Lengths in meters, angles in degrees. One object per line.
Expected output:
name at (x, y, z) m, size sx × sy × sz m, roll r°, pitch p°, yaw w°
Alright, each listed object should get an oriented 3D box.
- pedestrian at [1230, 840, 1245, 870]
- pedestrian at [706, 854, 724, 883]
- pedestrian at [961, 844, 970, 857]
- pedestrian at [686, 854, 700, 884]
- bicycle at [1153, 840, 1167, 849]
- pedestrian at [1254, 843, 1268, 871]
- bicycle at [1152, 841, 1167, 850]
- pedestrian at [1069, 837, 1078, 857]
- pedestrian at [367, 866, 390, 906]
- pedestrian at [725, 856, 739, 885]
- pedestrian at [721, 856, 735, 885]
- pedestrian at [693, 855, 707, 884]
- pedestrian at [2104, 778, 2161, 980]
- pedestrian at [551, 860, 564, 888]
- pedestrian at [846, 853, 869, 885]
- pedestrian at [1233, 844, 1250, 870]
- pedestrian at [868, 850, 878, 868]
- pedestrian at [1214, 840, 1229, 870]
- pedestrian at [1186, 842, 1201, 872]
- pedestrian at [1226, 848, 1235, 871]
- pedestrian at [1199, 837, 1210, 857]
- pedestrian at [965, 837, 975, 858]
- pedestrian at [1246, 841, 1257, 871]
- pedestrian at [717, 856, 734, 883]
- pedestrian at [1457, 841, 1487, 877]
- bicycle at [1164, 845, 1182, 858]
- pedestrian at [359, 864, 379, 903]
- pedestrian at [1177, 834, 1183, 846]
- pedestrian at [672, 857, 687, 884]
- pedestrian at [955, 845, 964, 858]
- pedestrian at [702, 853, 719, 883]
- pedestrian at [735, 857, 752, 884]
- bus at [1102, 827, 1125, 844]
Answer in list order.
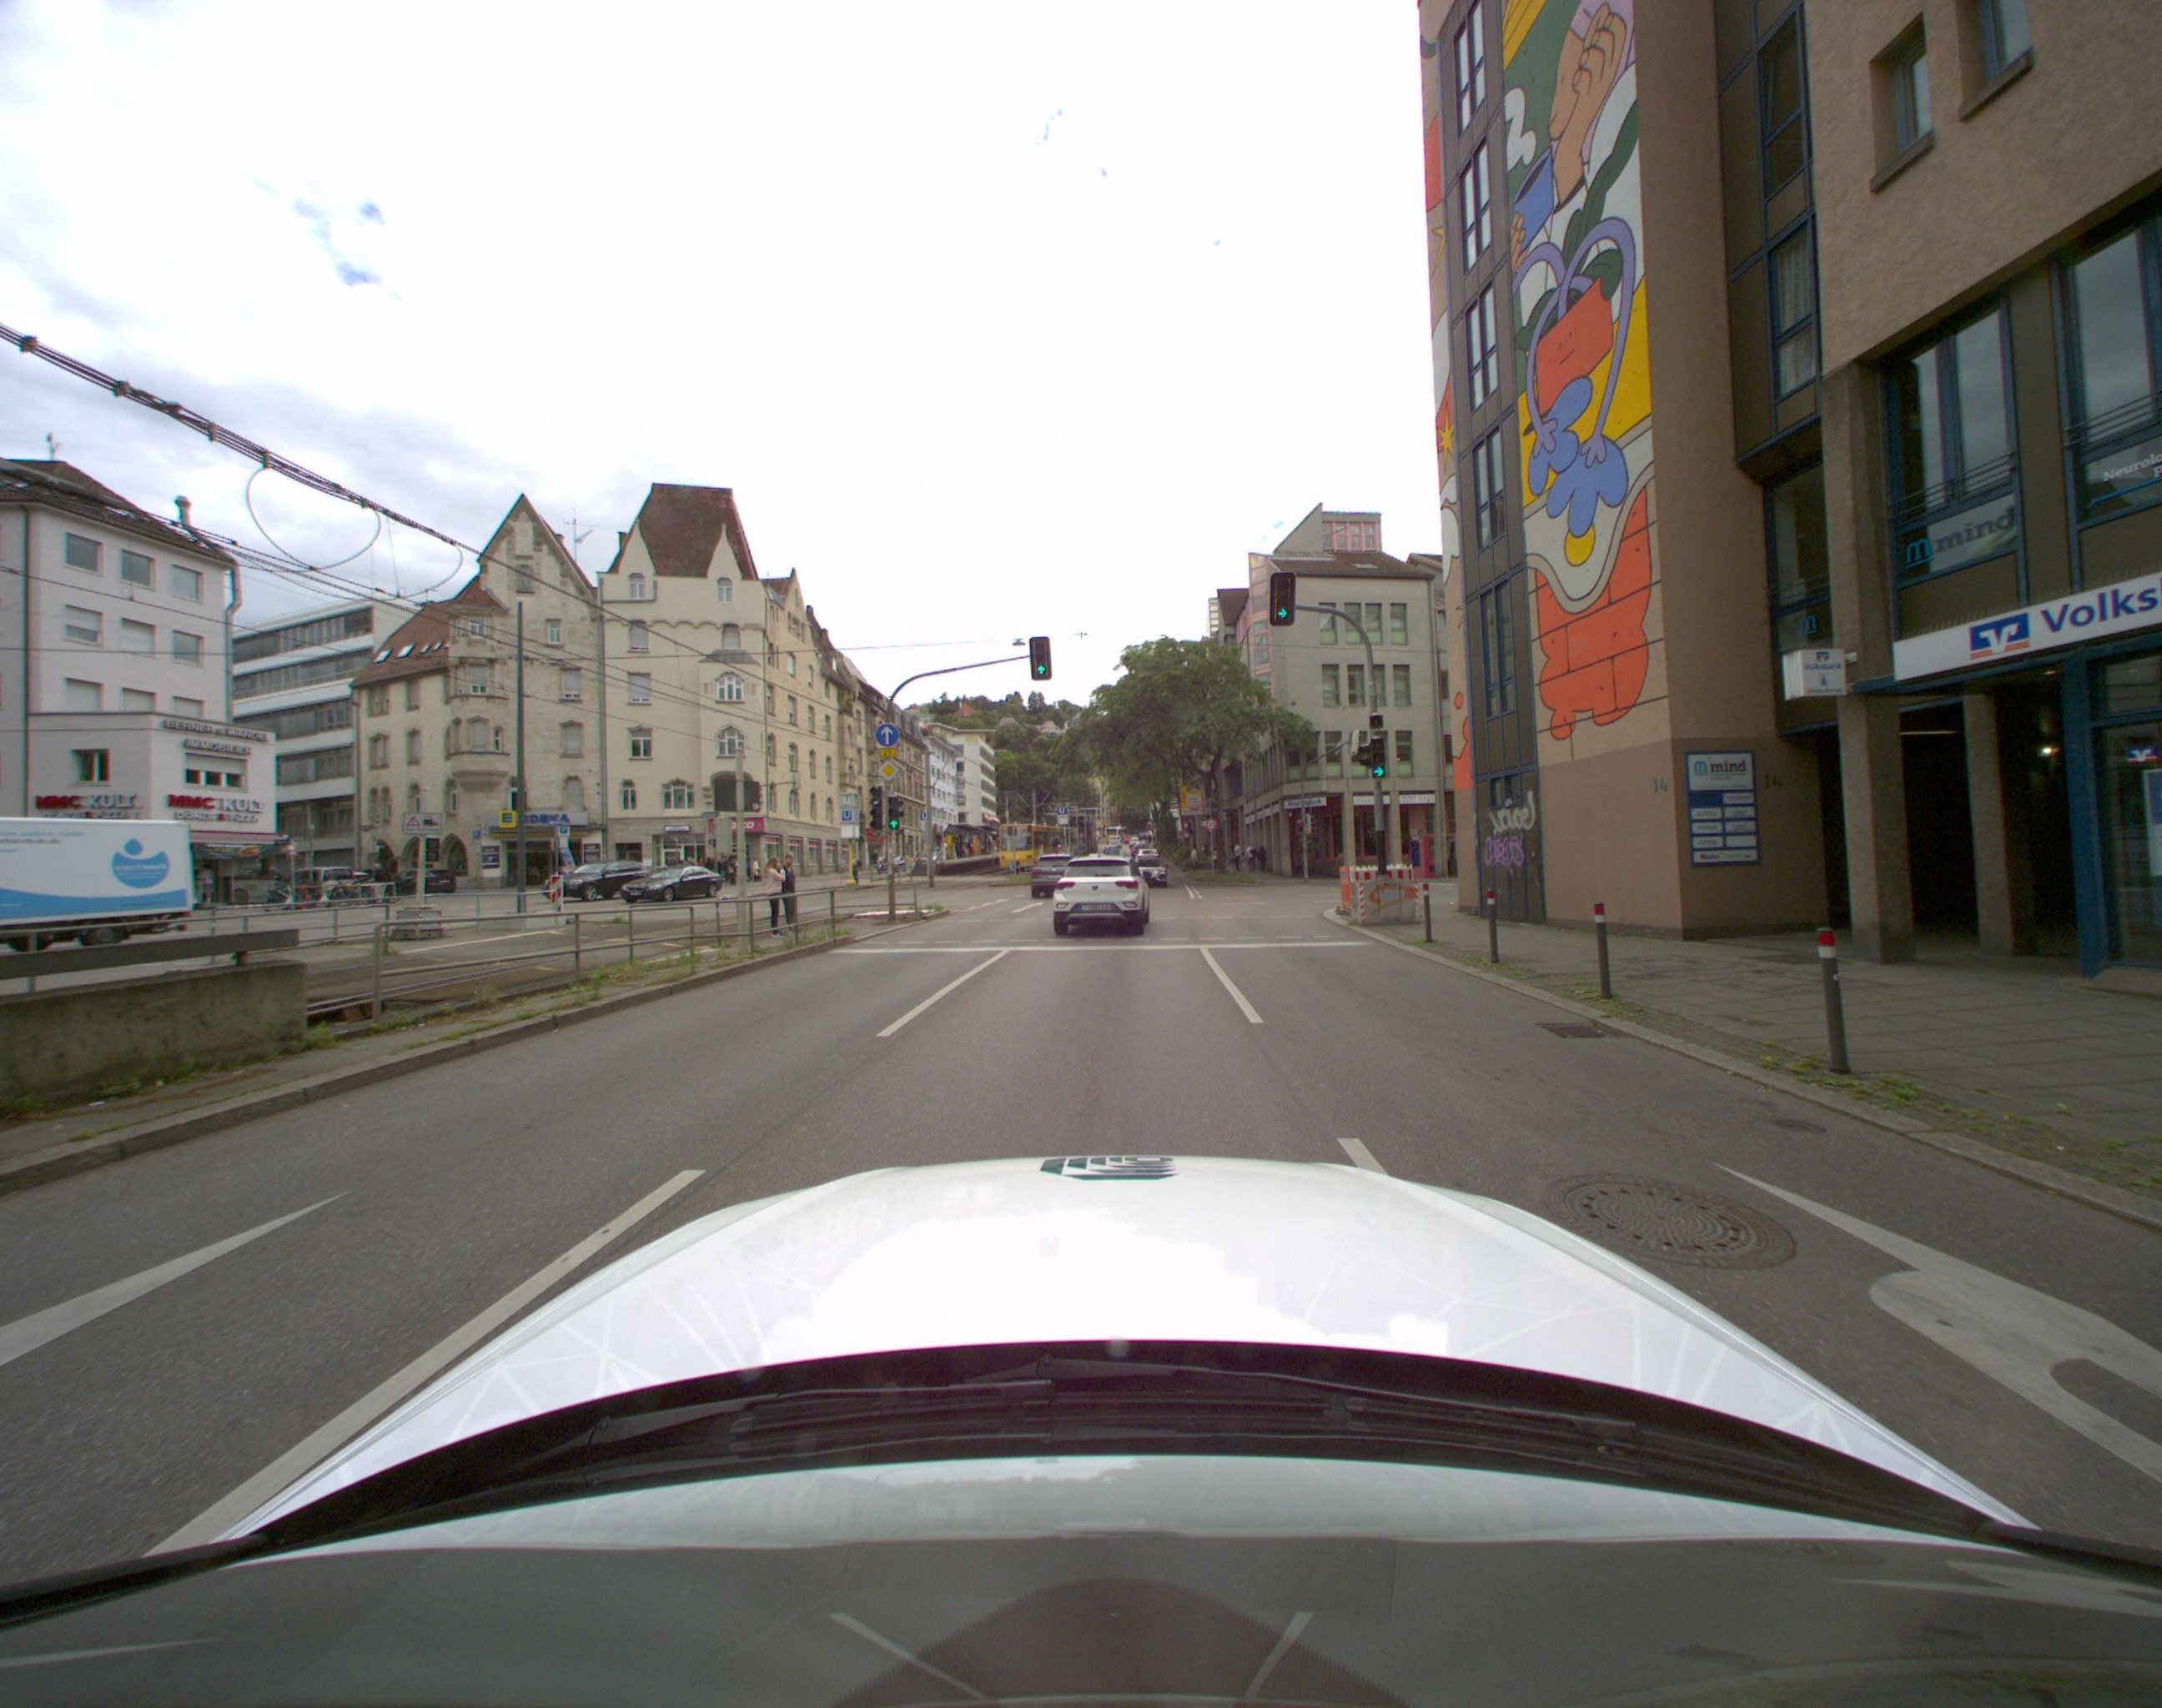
pedestrian at (9.656, 0.060, 50.276) m, size 0.731 × 1.874 × 0.733 m, roll -1°, pitch 0°, yaw -1°
pedestrian at (-23.035, 0.922, 51.217) m, size 0.780 × 1.780 × 0.672 m, roll -2°, pitch 0°, yaw 34°
pedestrian at (-10.061, -0.307, 70.832) m, size 0.632 × 1.107 × 0.691 m, roll -2°, pitch 1°, yaw 3°
pedestrian at (-23.678, 0.929, 49.696) m, size 0.506 × 1.780 × 0.578 m, roll -2°, pitch 0°, yaw 10°
bicycle at (10.717, -1.281, 110.382) m, size 1.869 × 1.137 × 0.810 m, roll -1°, pitch 0°, yaw 9°
pedestrian at (10.624, 0.181, 48.062) m, size 0.756 × 1.612 × 0.621 m, roll -3°, pitch 3°, yaw 15°
bicycle at (10.455, -1.144, 108.900) m, size 1.867 × 1.266 × 0.767 m, roll -1°, pitch 0°, yaw 14°
pedestrian at (-0.674, -0.622, 72.965) m, size 0.714 × 1.730 × 0.671 m, roll -1°, pitch 0°, yaw 4°
pedestrian at (-32.263, 1.459, 37.395) m, size 0.506 × 1.780 × 0.579 m, roll -2°, pitch 0°, yaw 15°
pedestrian at (-21.378, 1.022, 49.925) m, size 0.506 × 1.780 × 0.579 m, roll -2°, pitch 0°, yaw 18°
pedestrian at (-22.200, 1.034, 51.194) m, size 0.505 × 1.780 × 0.580 m, roll -2°, pitch 0°, yaw 34°
pedestrian at (-23.539, 0.950, 50.341) m, size 0.507 × 1.780 × 0.578 m, roll -2°, pitch 0°, yaw 6°
pedestrian at (9.604, 0.205, 6.930) m, size 0.767 × 1.721 × 0.794 m, roll -2°, pitch 0°, yaw 0°
pedestrian at (-34.949, 1.329, 54.361) m, size 0.575 × 1.780 × 0.509 m, roll -1°, pitch 0°, yaw -11°
pedestrian at (-12.048, 0.818, 43.902) m, size 0.866 × 1.705 × 0.817 m, roll -2°, pitch 0°, yaw 32°
pedestrian at (9.732, 0.177, 49.344) m, size 0.833 × 1.563 × 0.764 m, roll -1°, pitch 0°, yaw -1°
pedestrian at (-20.090, 0.470, 78.685) m, size 0.632 × 1.762 × 0.837 m, roll -2°, pitch 0°, yaw -39°
pedestrian at (8.573, 0.054, 49.707) m, size 0.719 × 1.802 × 0.834 m, roll -4°, pitch 3°, yaw -1°
pedestrian at (7.066, 0.183, 51.076) m, size 0.691 × 1.777 × 0.689 m, roll -6°, pitch 0°, yaw -1°
pedestrian at (8.951, 0.338, 48.805) m, size 0.470 × 1.333 × 0.519 m, roll -1°, pitch 0°, yaw -1°
pedestrian at (11.053, -0.633, 72.759) m, size 0.760 × 1.782 × 0.848 m, roll -3°, pitch 3°, yaw -2°
pedestrian at (-9.417, -0.547, 69.103) m, size 0.624 × 1.762 × 0.848 m, roll -2°, pitch 0°, yaw 4°
pedestrian at (10.321, 0.101, 49.348) m, size 0.517 × 1.789 × 0.764 m, roll -1°, pitch 0°, yaw -1°
pedestrian at (-22.899, 0.999, 52.470) m, size 0.777 × 1.705 × 0.655 m, roll -2°, pitch 0°, yaw 9°
pedestrian at (19.093, 0.257, 39.750) m, size 1.111 × 1.712 × 0.861 m, roll -1°, pitch 0°, yaw 38°
bicycle at (8.658, -0.225, 76.951) m, size 1.611 × 1.128 × 0.614 m, roll -4°, pitch 1°, yaw 7°
pedestrian at (-33.489, 1.373, 38.303) m, size 0.569 × 1.780 × 0.515 m, roll -2°, pitch 0°, yaw 29°
pedestrian at (13.545, -1.869, 111.169) m, size 0.637 × 1.615 × 0.584 m, roll 0°, pitch 0°, yaw -17°
pedestrian at (-23.851, 0.978, 48.353) m, size 0.572 × 1.582 × 0.512 m, roll -2°, pitch 0°, yaw 4°
pedestrian at (-10.342, -0.190, 69.269) m, size 0.632 × 1.107 × 0.691 m, roll -2°, pitch 1°, yaw 3°
pedestrian at (-22.445, 0.839, 49.316) m, size 0.703 × 1.780 × 0.598 m, roll -2°, pitch 0°, yaw 19°
pedestrian at (-21.404, 1.025, 51.691) m, size 0.667 × 1.677 × 0.695 m, roll -2°, pitch 0°, yaw 21°
bus at (6.569, -3.705, 162.802) m, size 3.354 × 3.064 × 13.351 m, roll -1°, pitch 0°, yaw 7°
